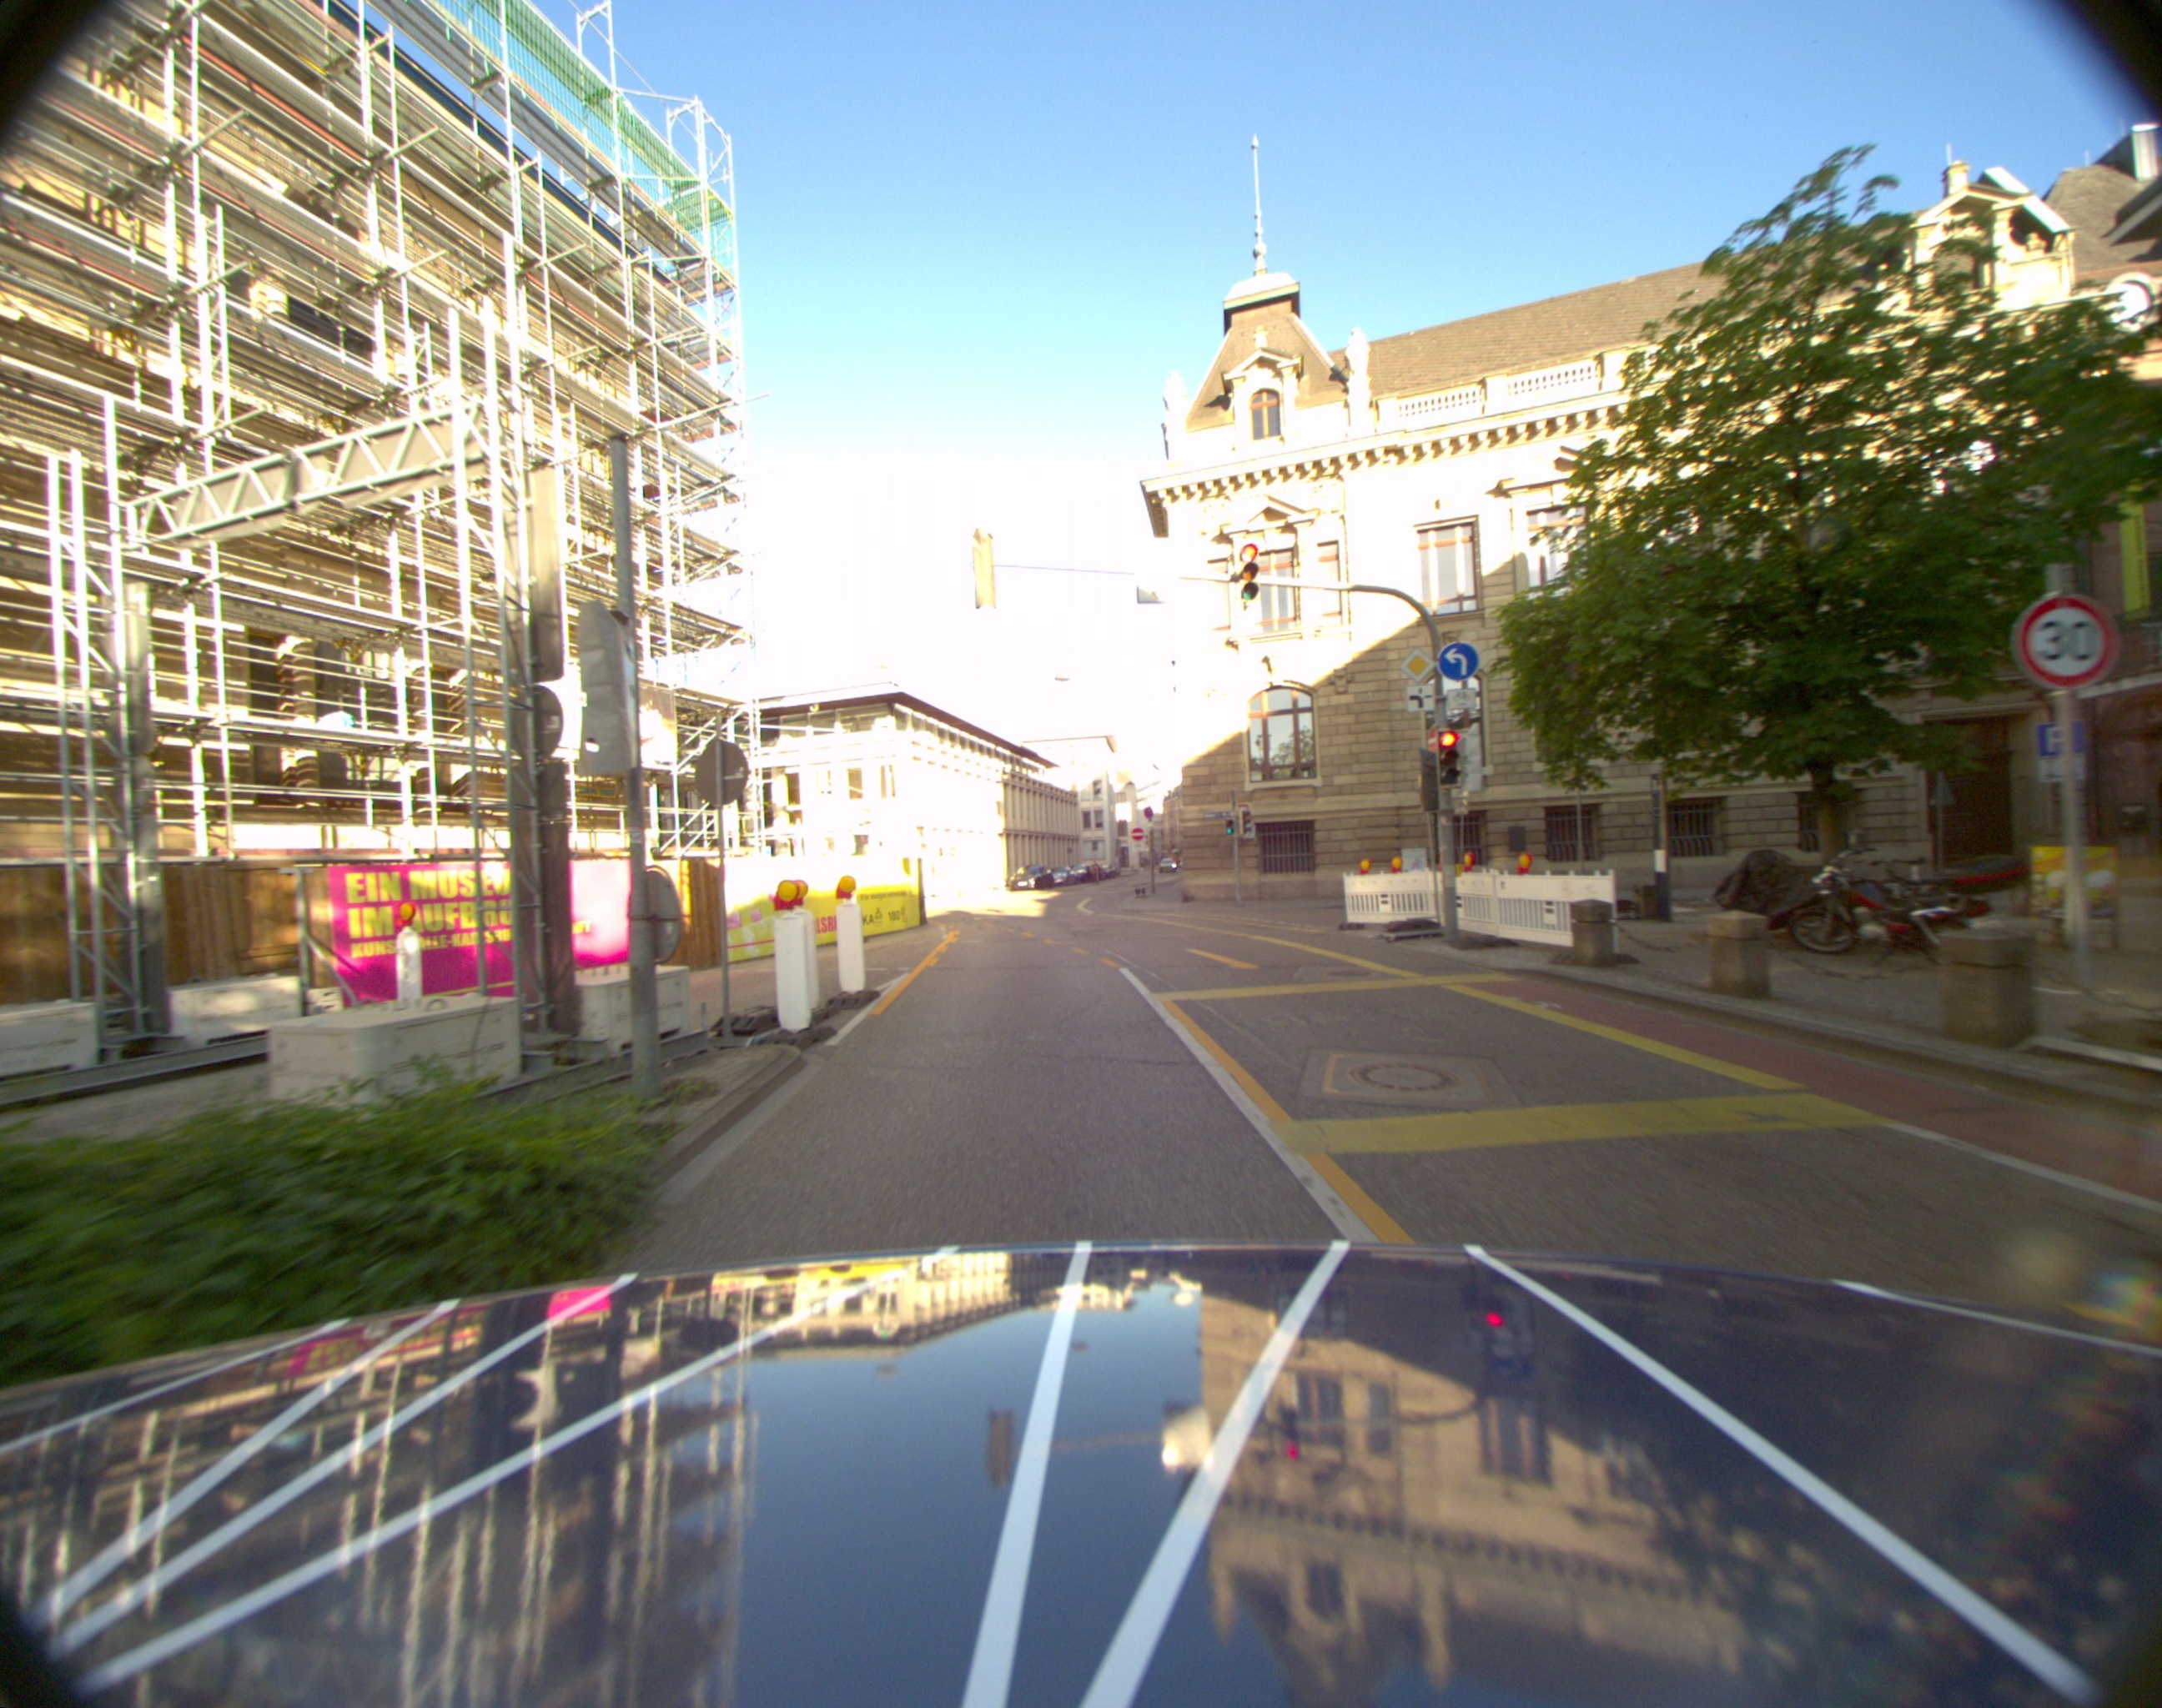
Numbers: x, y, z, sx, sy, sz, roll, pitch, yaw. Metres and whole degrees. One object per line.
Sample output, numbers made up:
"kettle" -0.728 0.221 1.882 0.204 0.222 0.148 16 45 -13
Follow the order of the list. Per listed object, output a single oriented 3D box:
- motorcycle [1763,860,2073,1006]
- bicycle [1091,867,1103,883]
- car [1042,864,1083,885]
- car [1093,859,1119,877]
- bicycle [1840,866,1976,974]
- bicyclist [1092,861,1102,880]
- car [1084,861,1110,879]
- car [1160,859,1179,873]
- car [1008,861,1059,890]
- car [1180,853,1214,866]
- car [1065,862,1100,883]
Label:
"motorcycle" 8.659 0.735 8.081 0.813 1.309 2.338 -2 0 5
"bicycle" 1.132 1.499 53.618 0.534 1.060 1.427 -3 0 10
"car" -1.283 1.476 55.180 1.699 1.336 4.603 -3 0 15
"car" 2.405 1.308 72.125 1.696 1.482 4.258 -3 0 11
"bicycle" 10.420 0.778 9.560 2.008 1.199 0.682 -1 1 -28
"bicyclist" 1.122 1.183 53.662 0.537 1.280 0.552 -3 0 10
"car" 1.471 1.397 66.835 1.630 1.391 3.889 -3 0 10
"car" 10.337 1.372 88.304 1.852 1.482 4.258 -3 0 11
"car" -2.956 1.351 48.387 1.897 1.614 4.626 -3 0 13
"car" 15.449 0.734 101.609 4.268 1.462 1.633 -3 0 -1
"car" 0.162 1.484 60.941 1.699 1.461 4.796 -3 0 12
